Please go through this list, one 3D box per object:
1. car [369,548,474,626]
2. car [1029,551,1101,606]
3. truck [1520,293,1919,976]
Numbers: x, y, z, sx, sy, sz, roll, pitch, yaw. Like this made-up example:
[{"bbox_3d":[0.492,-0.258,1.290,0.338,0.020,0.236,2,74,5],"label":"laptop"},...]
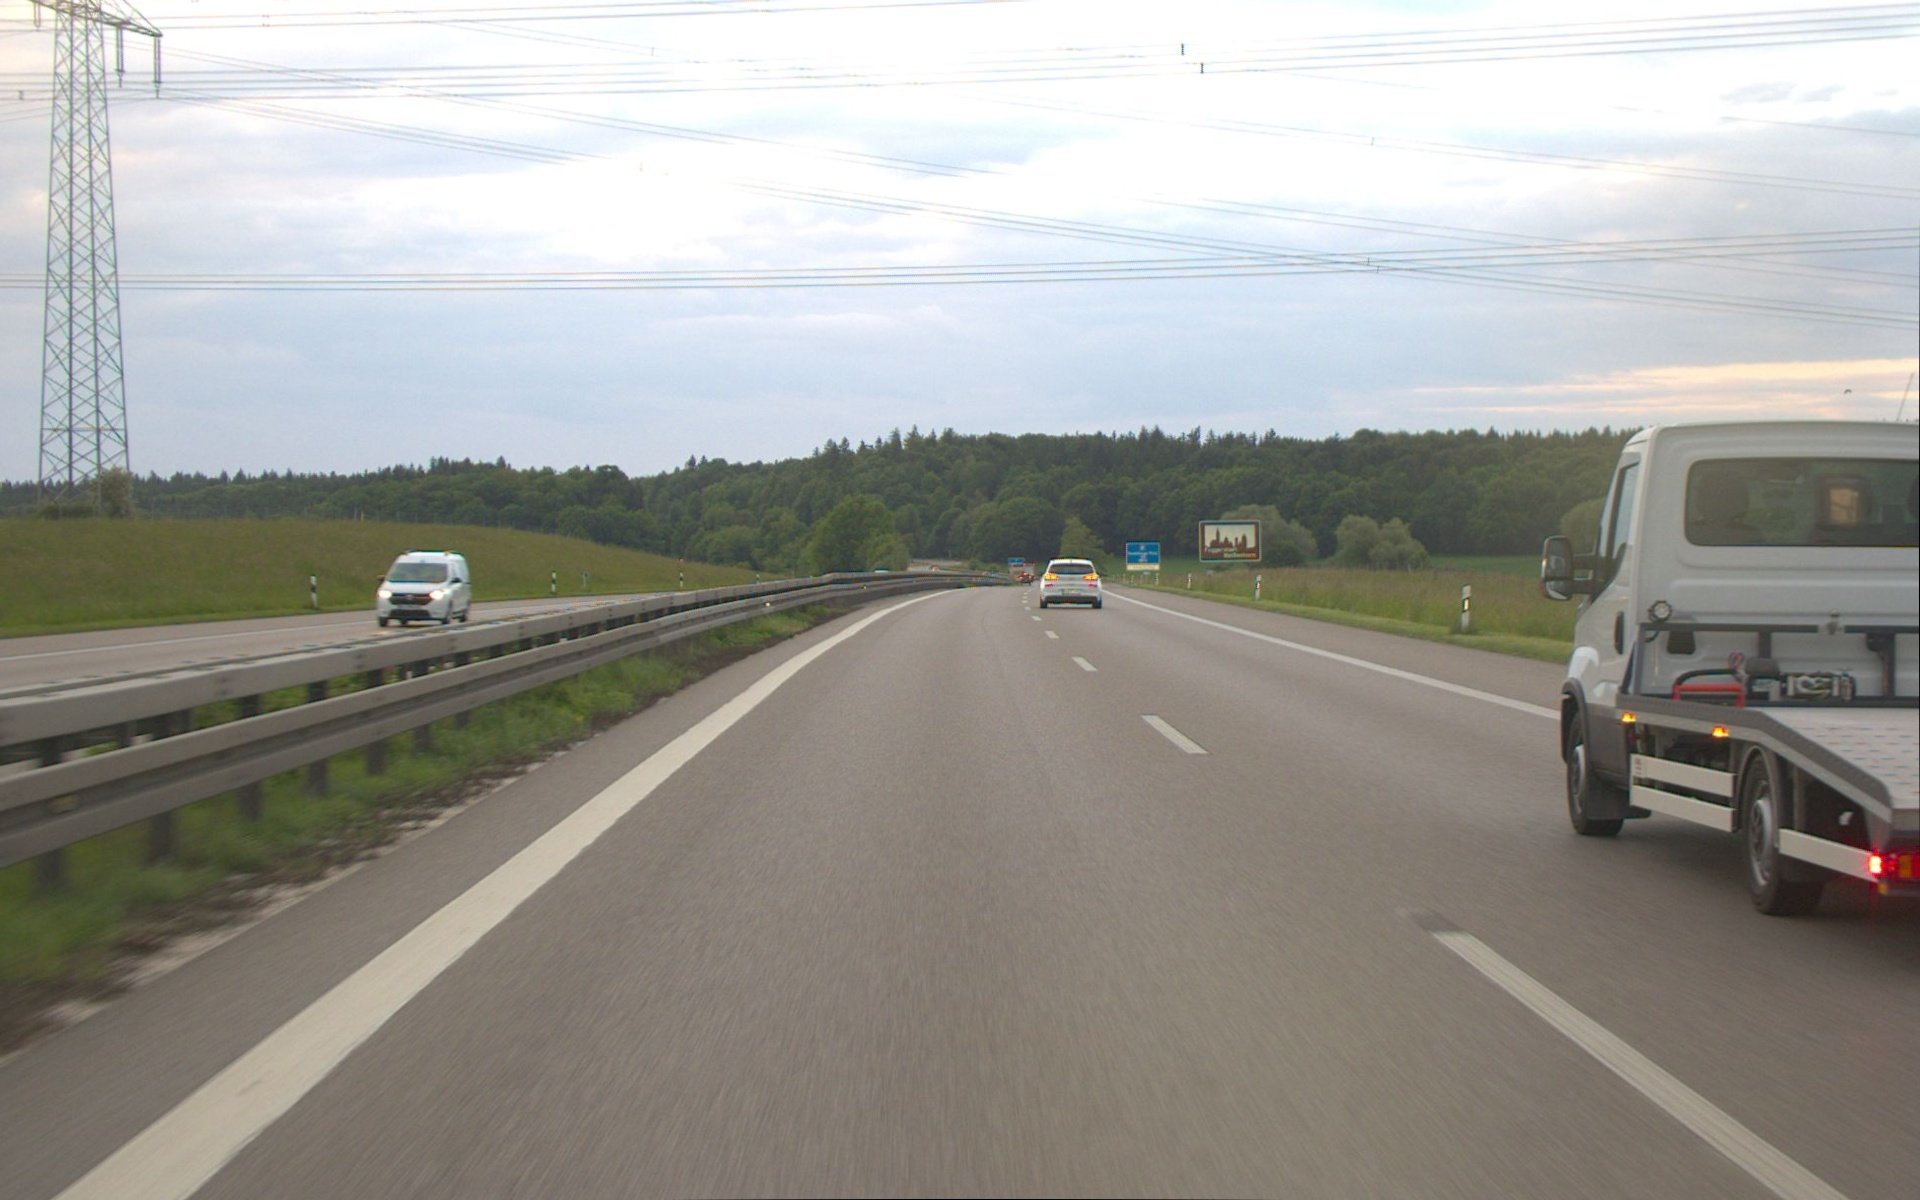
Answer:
[{"bbox_3d":[-13.029,-0.344,83.435,1.760,1.796,4.995,-1,1,0],"label":"car"},{"bbox_3d":[3.060,-0.655,100.838,1.951,1.526,4.080,1,1,0],"label":"car"},{"bbox_3d":[4.289,0.089,15.701,2.172,2.352,7.697,1,1,0],"label":"truck"}]
